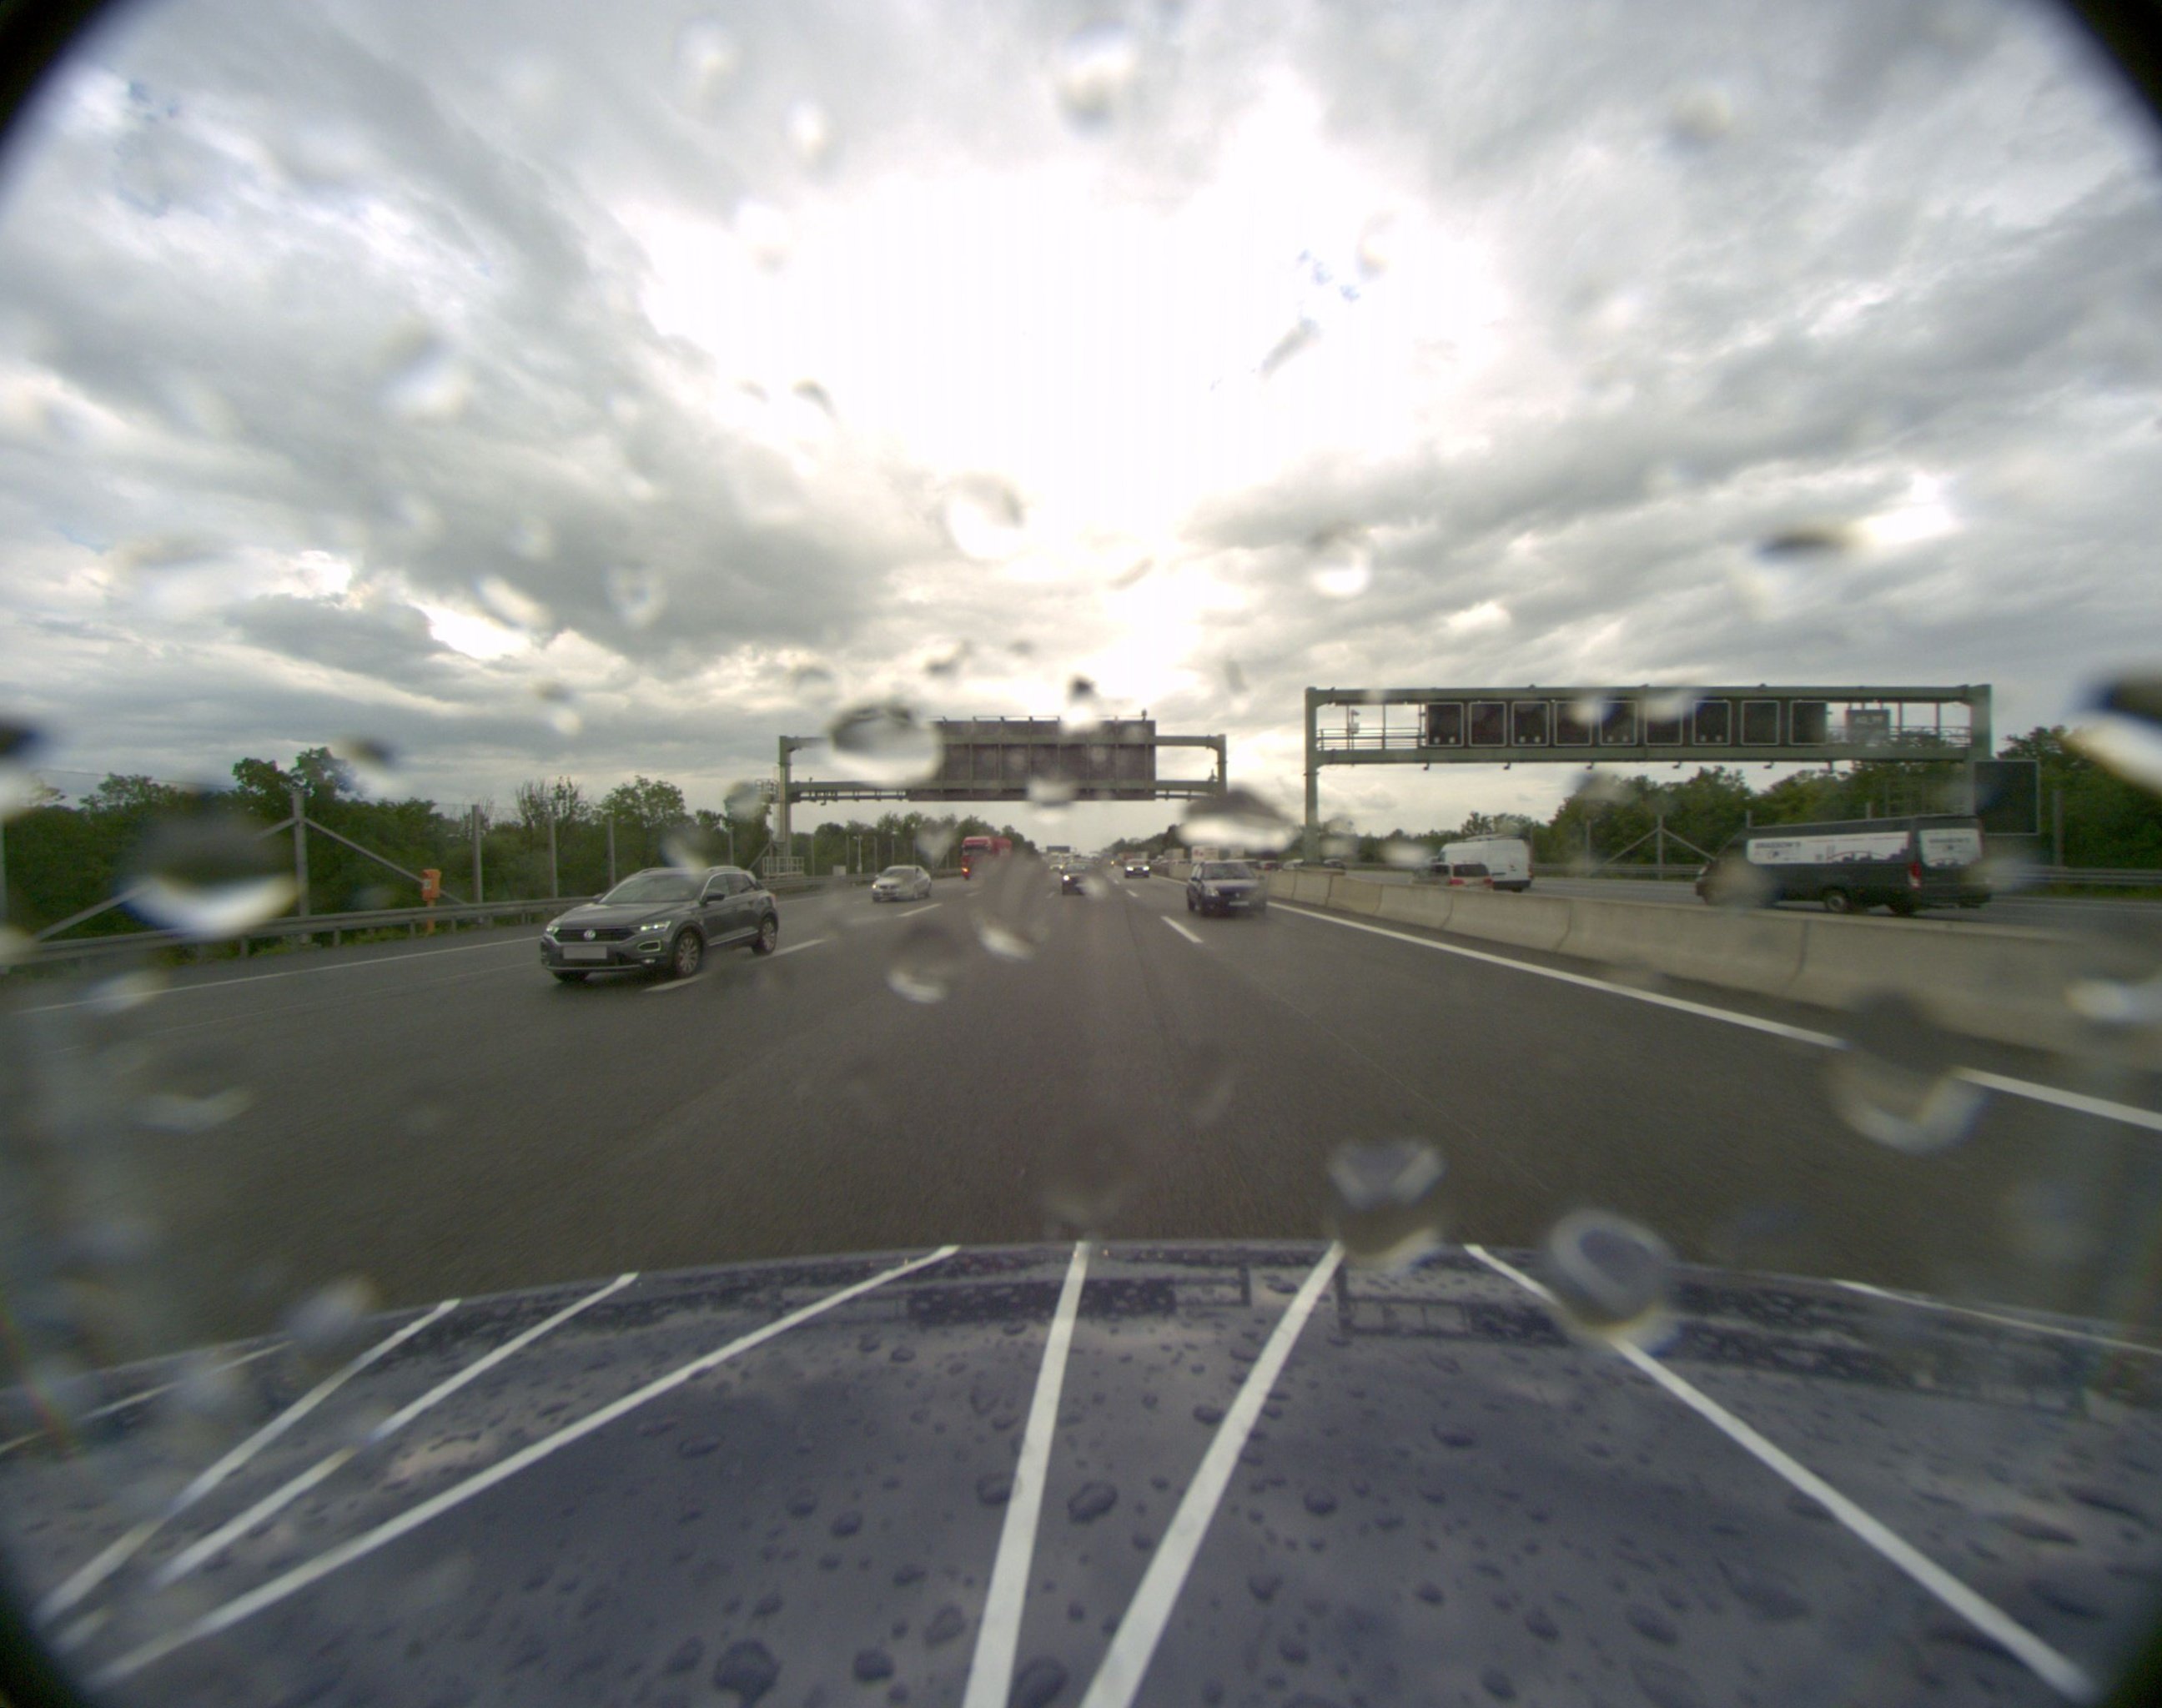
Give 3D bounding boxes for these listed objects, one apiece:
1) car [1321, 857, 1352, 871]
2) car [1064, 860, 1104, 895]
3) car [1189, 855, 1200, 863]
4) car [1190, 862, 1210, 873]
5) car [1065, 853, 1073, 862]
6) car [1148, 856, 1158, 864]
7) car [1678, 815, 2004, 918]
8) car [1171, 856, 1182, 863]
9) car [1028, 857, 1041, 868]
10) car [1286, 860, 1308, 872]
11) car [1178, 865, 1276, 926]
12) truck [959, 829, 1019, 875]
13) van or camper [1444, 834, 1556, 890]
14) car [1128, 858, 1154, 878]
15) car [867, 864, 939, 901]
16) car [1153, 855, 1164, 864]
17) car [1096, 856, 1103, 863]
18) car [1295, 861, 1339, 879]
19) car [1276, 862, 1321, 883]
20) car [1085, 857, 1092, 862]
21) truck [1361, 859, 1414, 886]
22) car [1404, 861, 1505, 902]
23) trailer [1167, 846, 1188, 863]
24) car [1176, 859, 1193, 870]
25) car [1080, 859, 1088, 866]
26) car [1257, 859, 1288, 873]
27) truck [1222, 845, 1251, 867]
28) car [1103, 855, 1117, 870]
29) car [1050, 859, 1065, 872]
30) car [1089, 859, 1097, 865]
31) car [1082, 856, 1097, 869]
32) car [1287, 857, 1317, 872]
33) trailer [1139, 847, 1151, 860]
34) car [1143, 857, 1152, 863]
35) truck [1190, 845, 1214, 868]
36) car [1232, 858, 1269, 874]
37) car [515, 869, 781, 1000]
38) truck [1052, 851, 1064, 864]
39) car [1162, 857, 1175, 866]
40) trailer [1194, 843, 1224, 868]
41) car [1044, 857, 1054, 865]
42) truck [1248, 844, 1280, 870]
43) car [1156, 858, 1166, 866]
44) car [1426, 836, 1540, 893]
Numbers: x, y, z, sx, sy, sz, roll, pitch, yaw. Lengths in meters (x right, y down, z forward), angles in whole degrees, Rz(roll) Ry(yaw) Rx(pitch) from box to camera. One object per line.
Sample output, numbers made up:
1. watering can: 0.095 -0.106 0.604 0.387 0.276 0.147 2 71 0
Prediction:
1. car: 26.616 1.071 79.219 1.766 1.418 4.342 -1 -1 0
2. car: 0.185 1.031 34.758 1.668 1.431 4.406 -1 0 2
3. car: 23.011 1.078 154.201 1.649 1.536 4.001 -1 -1 1
4. car: 14.531 1.621 92.953 1.707 1.281 4.187 -1 -1 0
5. car: -3.538 1.139 223.517 2.037 2.587 4.513 0 0 -2
6. car: 15.026 1.262 158.802 1.797 1.609 4.284 -1 0 1
7. car: 21.714 0.367 22.495 2.277 2.531 7.359 -1 -1 0
8. car: 18.964 1.082 150.963 1.649 1.494 4.677 -1 0 1
9. car: -6.705 1.279 110.432 1.820 1.534 4.357 -1 -1 -3
10. car: 26.417 1.459 93.061 1.587 1.418 4.003 -1 -1 0
11. car: 3.771 1.021 20.452 1.781 1.399 5.017 -1 -1 2
12. truck: -8.873 -0.086 75.612 3.160 3.979 15.641 -1 -1 3
13. van or camper: 22.896 0.450 41.921 2.590 2.830 6.213 -1 -1 -2
14. car: 4.735 1.102 60.056 1.751 1.489 4.015 -1 0 1
15. car: -7.550 1.182 32.664 1.898 1.438 4.247 -1 -1 2
16. car: 14.785 1.046 144.938 1.797 1.609 4.000 -1 0 1
17. car: 5.140 1.537 213.818 1.998 1.790 4.899 -2 0 1
18. car: 18.346 1.237 59.362 1.803 1.349 5.129 -1 -1 0
19. car: 14.903 1.233 52.232 1.707 1.383 4.505 -1 -1 -2
20. car: 2.516 1.851 260.501 1.999 1.635 4.000 -2 -1 -2
21. truck: 21.102 1.255 52.426 1.999 1.736 4.000 -1 -1 0
22. car: 14.518 1.026 29.802 1.763 1.429 4.394 -2 -1 0
23. trailer: 22.535 0.184 178.406 3.252 3.910 13.016 -2 0 0
24. car: 15.504 1.560 114.443 1.877 1.637 4.722 -1 -1 0
25. car: 0.890 2.423 213.102 1.999 2.002 3.507 -2 0 -2
26. car: 18.579 1.189 73.819 1.894 1.332 4.564 -1 -1 0
27. truck: 27.424 0.434 134.553 2.906 3.817 10.758 -1 -1 1
28. car: 4.654 1.425 123.995 1.999 2.353 4.172 -2 0 -1
29. car: -3.257 1.563 106.254 1.962 1.830 4.000 -1 0 -1
30. car: 3.551 2.309 220.217 2.037 1.596 4.000 0 0 -2
31. car: 1.259 1.204 111.297 2.134 1.830 4.000 -1 0 0
32. car: 21.882 1.009 75.411 1.625 1.438 4.417 -1 -1 0
33. trailer: 21.441 -0.156 254.810 2.825 4.037 11.603 -2 0 0
34. car: 15.614 1.457 177.341 1.724 1.346 4.626 0 -1 0
35. truck: 22.400 0.457 141.124 3.186 4.169 7.738 -1 -1 0
36. car: 14.888 1.082 66.962 2.084 1.349 5.257 -1 -1 0
37. car: -6.205 1.059 11.465 1.797 1.553 3.722 -2 0 1
38. truck: -7.384 1.104 240.944 3.256 3.883 12.310 -2 0 -4
39. car: 14.633 1.186 127.577 1.649 1.432 4.730 -1 0 1
40. trailer: 22.439 0.405 133.695 3.195 4.169 11.957 -1 -1 0
41. car: -6.097 1.422 145.399 1.782 1.438 4.587 -1 -1 -2
42. truck: 25.670 0.474 106.855 2.470 3.515 7.808 -1 -1 0
43. car: 19.018 1.891 181.809 1.826 2.040 5.675 0 0 0
44. car: 18.977 0.487 36.312 2.208 2.473 6.066 -1 -1 0
